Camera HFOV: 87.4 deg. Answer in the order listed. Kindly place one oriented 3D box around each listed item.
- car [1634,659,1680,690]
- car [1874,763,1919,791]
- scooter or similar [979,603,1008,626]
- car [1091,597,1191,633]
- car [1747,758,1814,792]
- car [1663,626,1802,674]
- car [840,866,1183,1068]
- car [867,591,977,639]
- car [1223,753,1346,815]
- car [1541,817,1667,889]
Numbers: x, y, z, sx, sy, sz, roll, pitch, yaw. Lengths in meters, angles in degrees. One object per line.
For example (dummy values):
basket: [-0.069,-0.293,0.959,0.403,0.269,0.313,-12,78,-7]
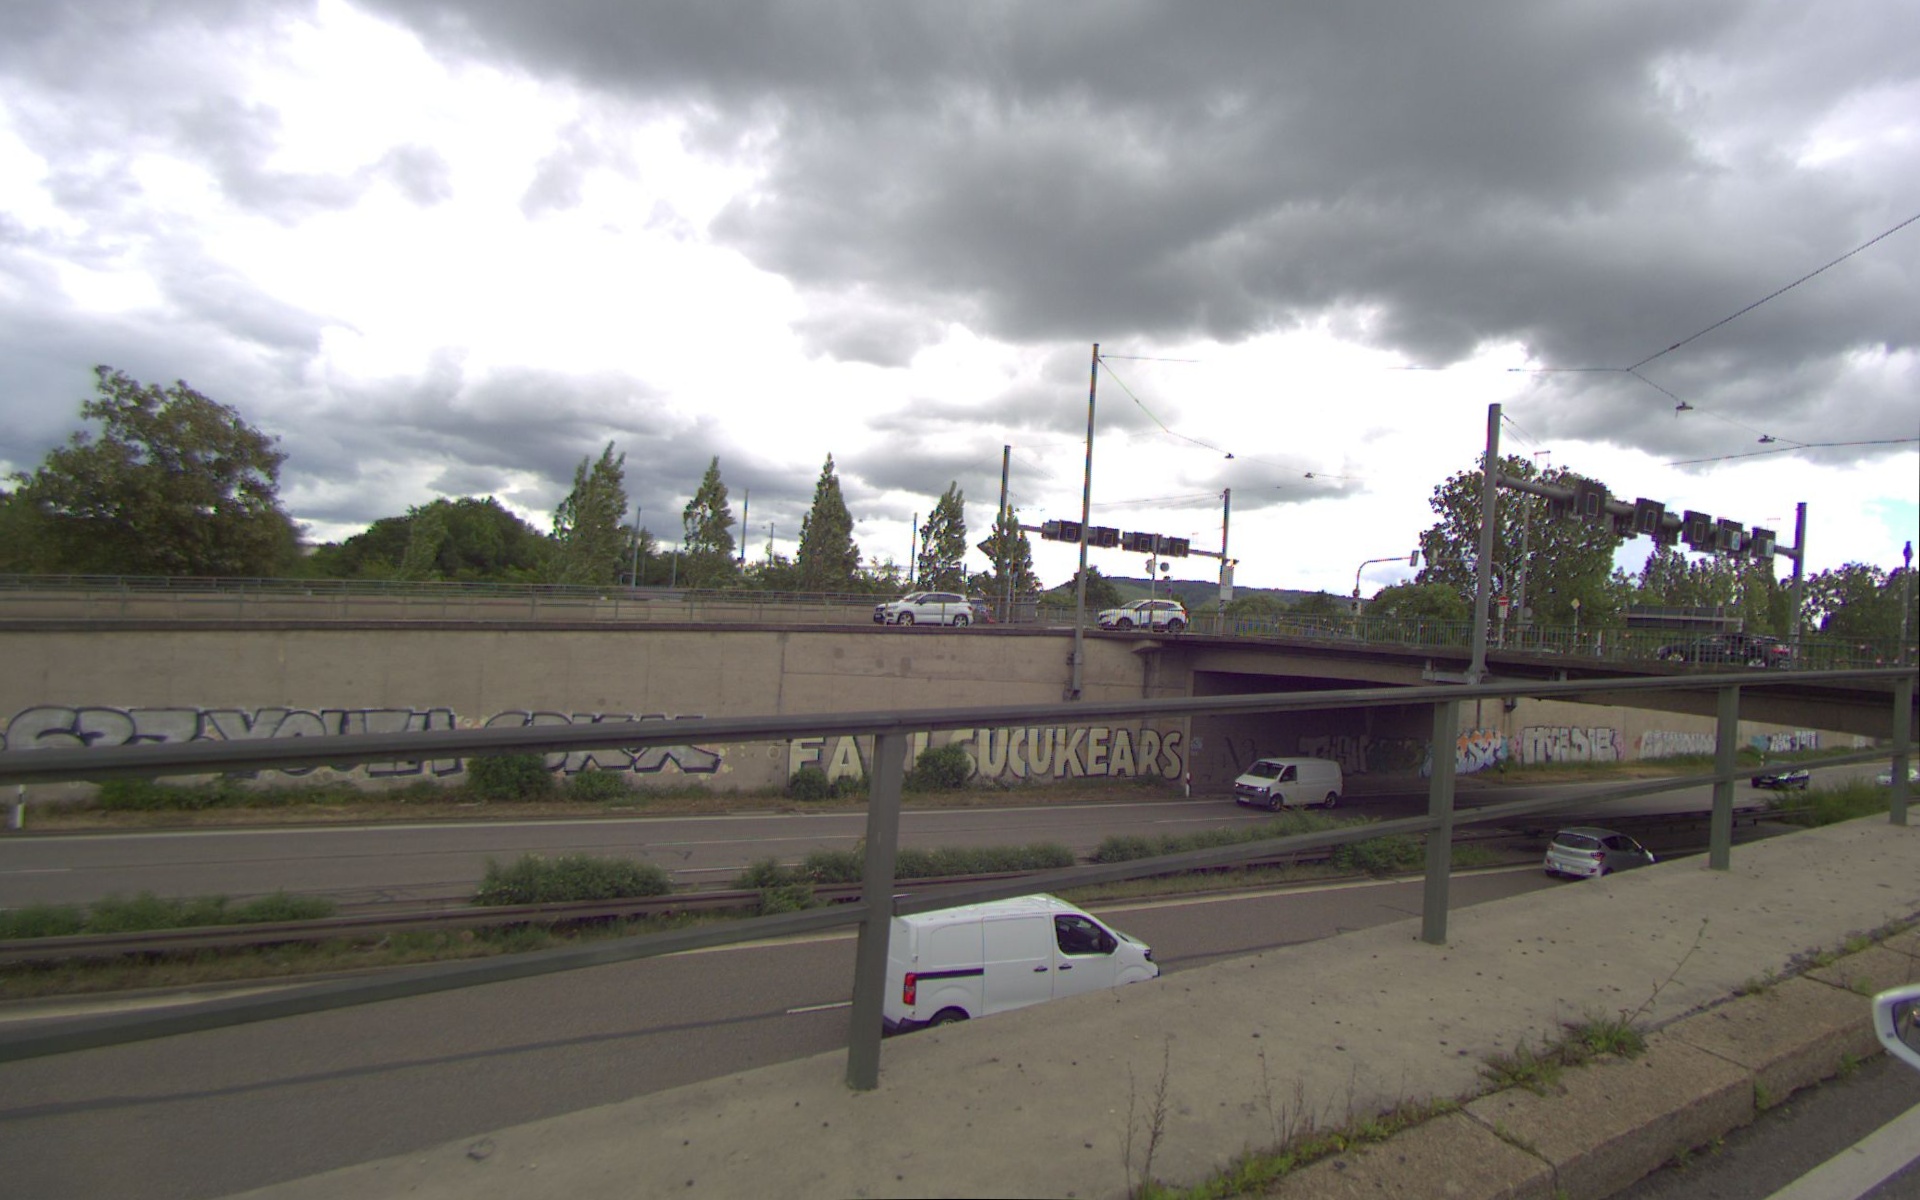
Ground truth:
car: [53.932,5.731,77.723,3.627,2.245,1.842,2,0,-35]
car: [61.333,11.485,65.330,4.042,1.547,1.720,5,-2,-31]
scooter or similar: [1.664,0.725,49.967,1.402,1.108,0.539,4,-2,-35]
car: [8.475,0.699,47.132,4.275,1.597,1.833,1,0,-16]
car: [50.983,10.807,62.372,4.504,1.761,1.905,5,-3,-32]
car: [30.695,1.947,40.014,1.916,1.740,3.965,1,-1,-32]
car: [0.848,5.369,15.278,4.840,1.960,1.940,6,-2,-30]
car: [-1.585,0.624,42.057,4.165,1.895,1.983,2,0,-31]
car: [13.387,7.510,41.360,5.124,2.094,1.982,5,-2,-33]
car: [18.876,7.351,29.427,3.640,1.573,1.549,5,-2,-29]
